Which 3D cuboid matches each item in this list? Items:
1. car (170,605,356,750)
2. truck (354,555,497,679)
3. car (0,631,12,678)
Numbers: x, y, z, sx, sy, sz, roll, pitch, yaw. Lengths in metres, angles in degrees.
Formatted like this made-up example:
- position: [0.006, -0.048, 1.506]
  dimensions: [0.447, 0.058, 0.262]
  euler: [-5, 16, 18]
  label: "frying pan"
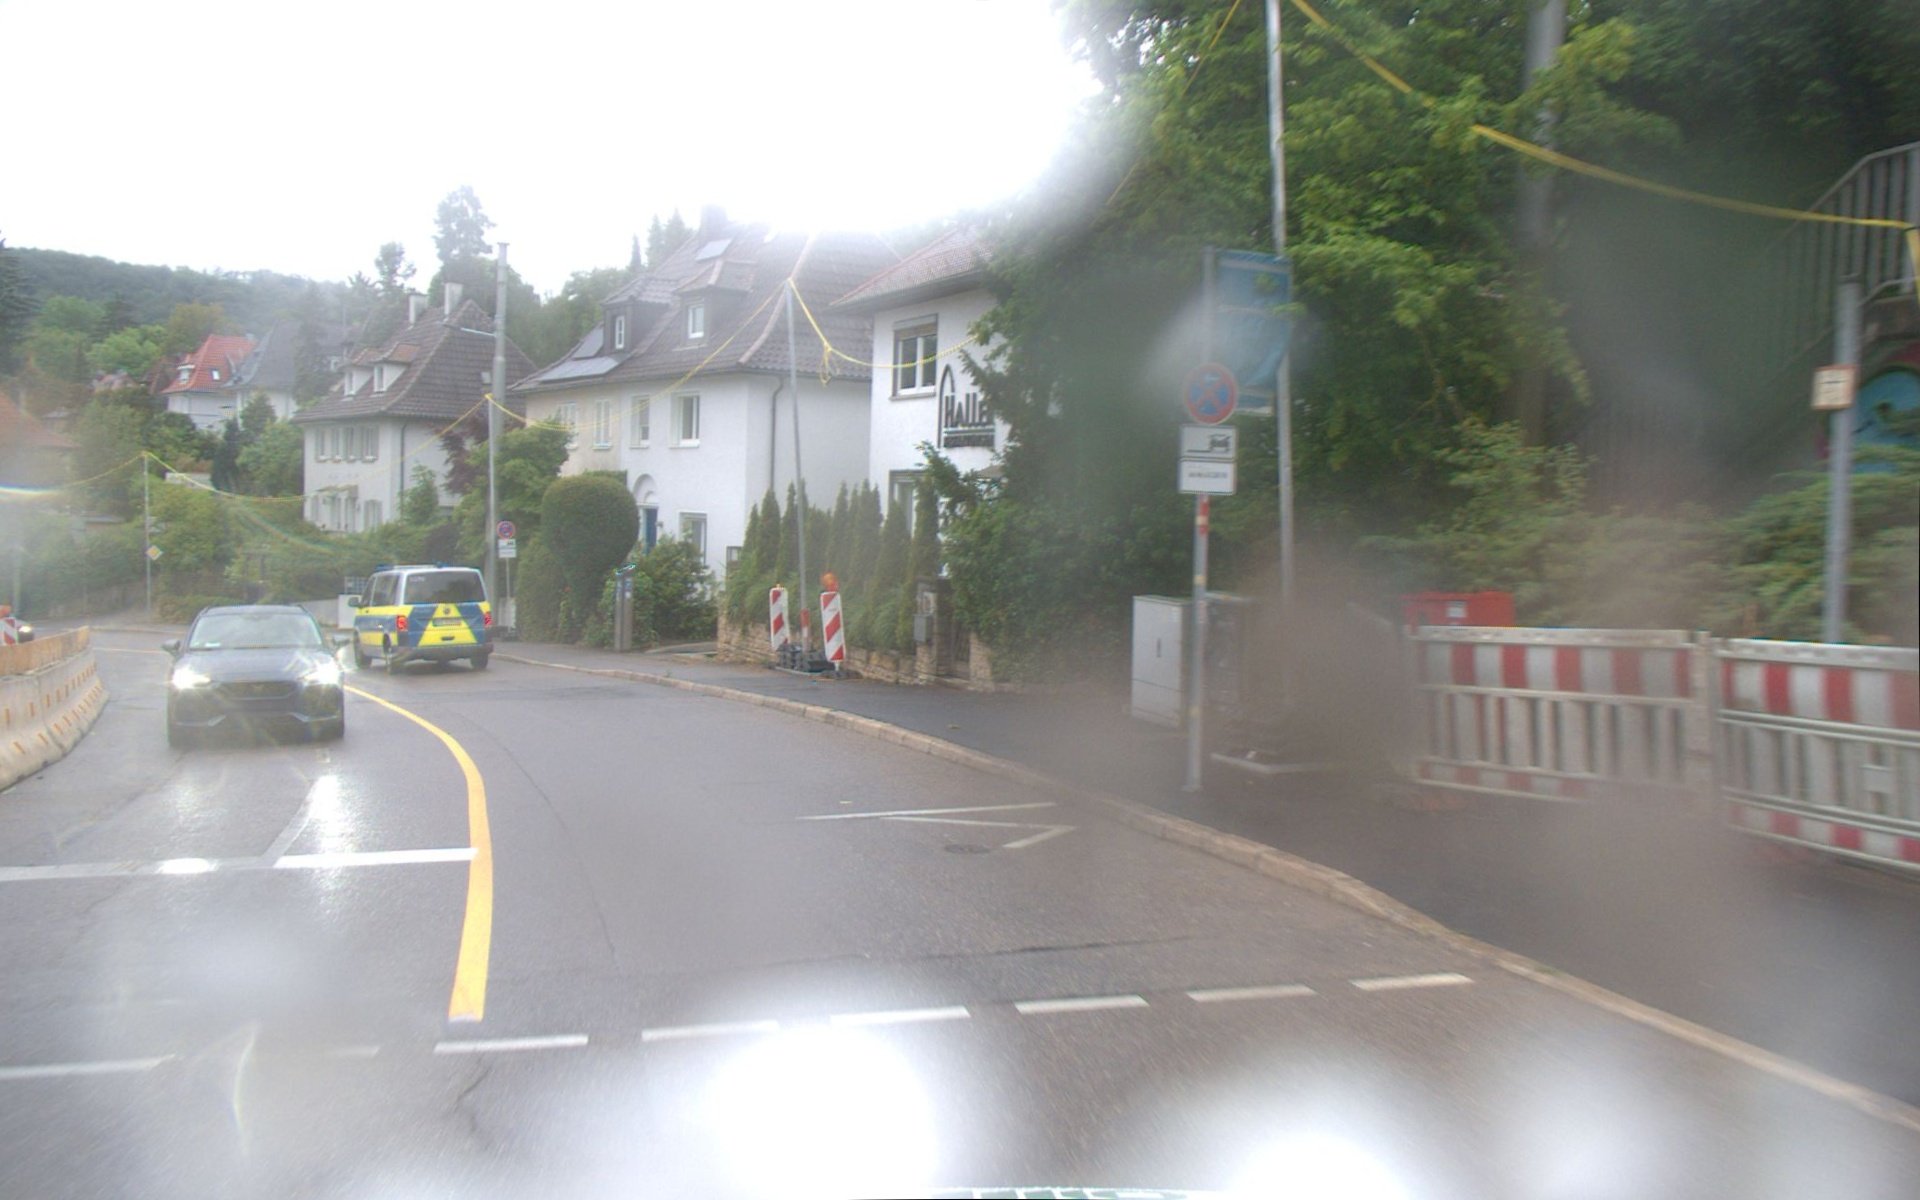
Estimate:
- position: [-7.982, 0.787, 19.016]
  dimensions: [1.759, 1.427, 4.335]
  euler: [0, 0, -23]
  label: "car"
- position: [-10.573, 0.244, 32.513]
  dimensions: [1.970, 2.048, 4.695]
  euler: [-1, 4, -27]
  label: "truck"
- position: [-29.882, 1.703, 49.450]
  dimensions: [1.641, 1.334, 4.194]
  euler: [-5, 1, -44]
  label: "car"
